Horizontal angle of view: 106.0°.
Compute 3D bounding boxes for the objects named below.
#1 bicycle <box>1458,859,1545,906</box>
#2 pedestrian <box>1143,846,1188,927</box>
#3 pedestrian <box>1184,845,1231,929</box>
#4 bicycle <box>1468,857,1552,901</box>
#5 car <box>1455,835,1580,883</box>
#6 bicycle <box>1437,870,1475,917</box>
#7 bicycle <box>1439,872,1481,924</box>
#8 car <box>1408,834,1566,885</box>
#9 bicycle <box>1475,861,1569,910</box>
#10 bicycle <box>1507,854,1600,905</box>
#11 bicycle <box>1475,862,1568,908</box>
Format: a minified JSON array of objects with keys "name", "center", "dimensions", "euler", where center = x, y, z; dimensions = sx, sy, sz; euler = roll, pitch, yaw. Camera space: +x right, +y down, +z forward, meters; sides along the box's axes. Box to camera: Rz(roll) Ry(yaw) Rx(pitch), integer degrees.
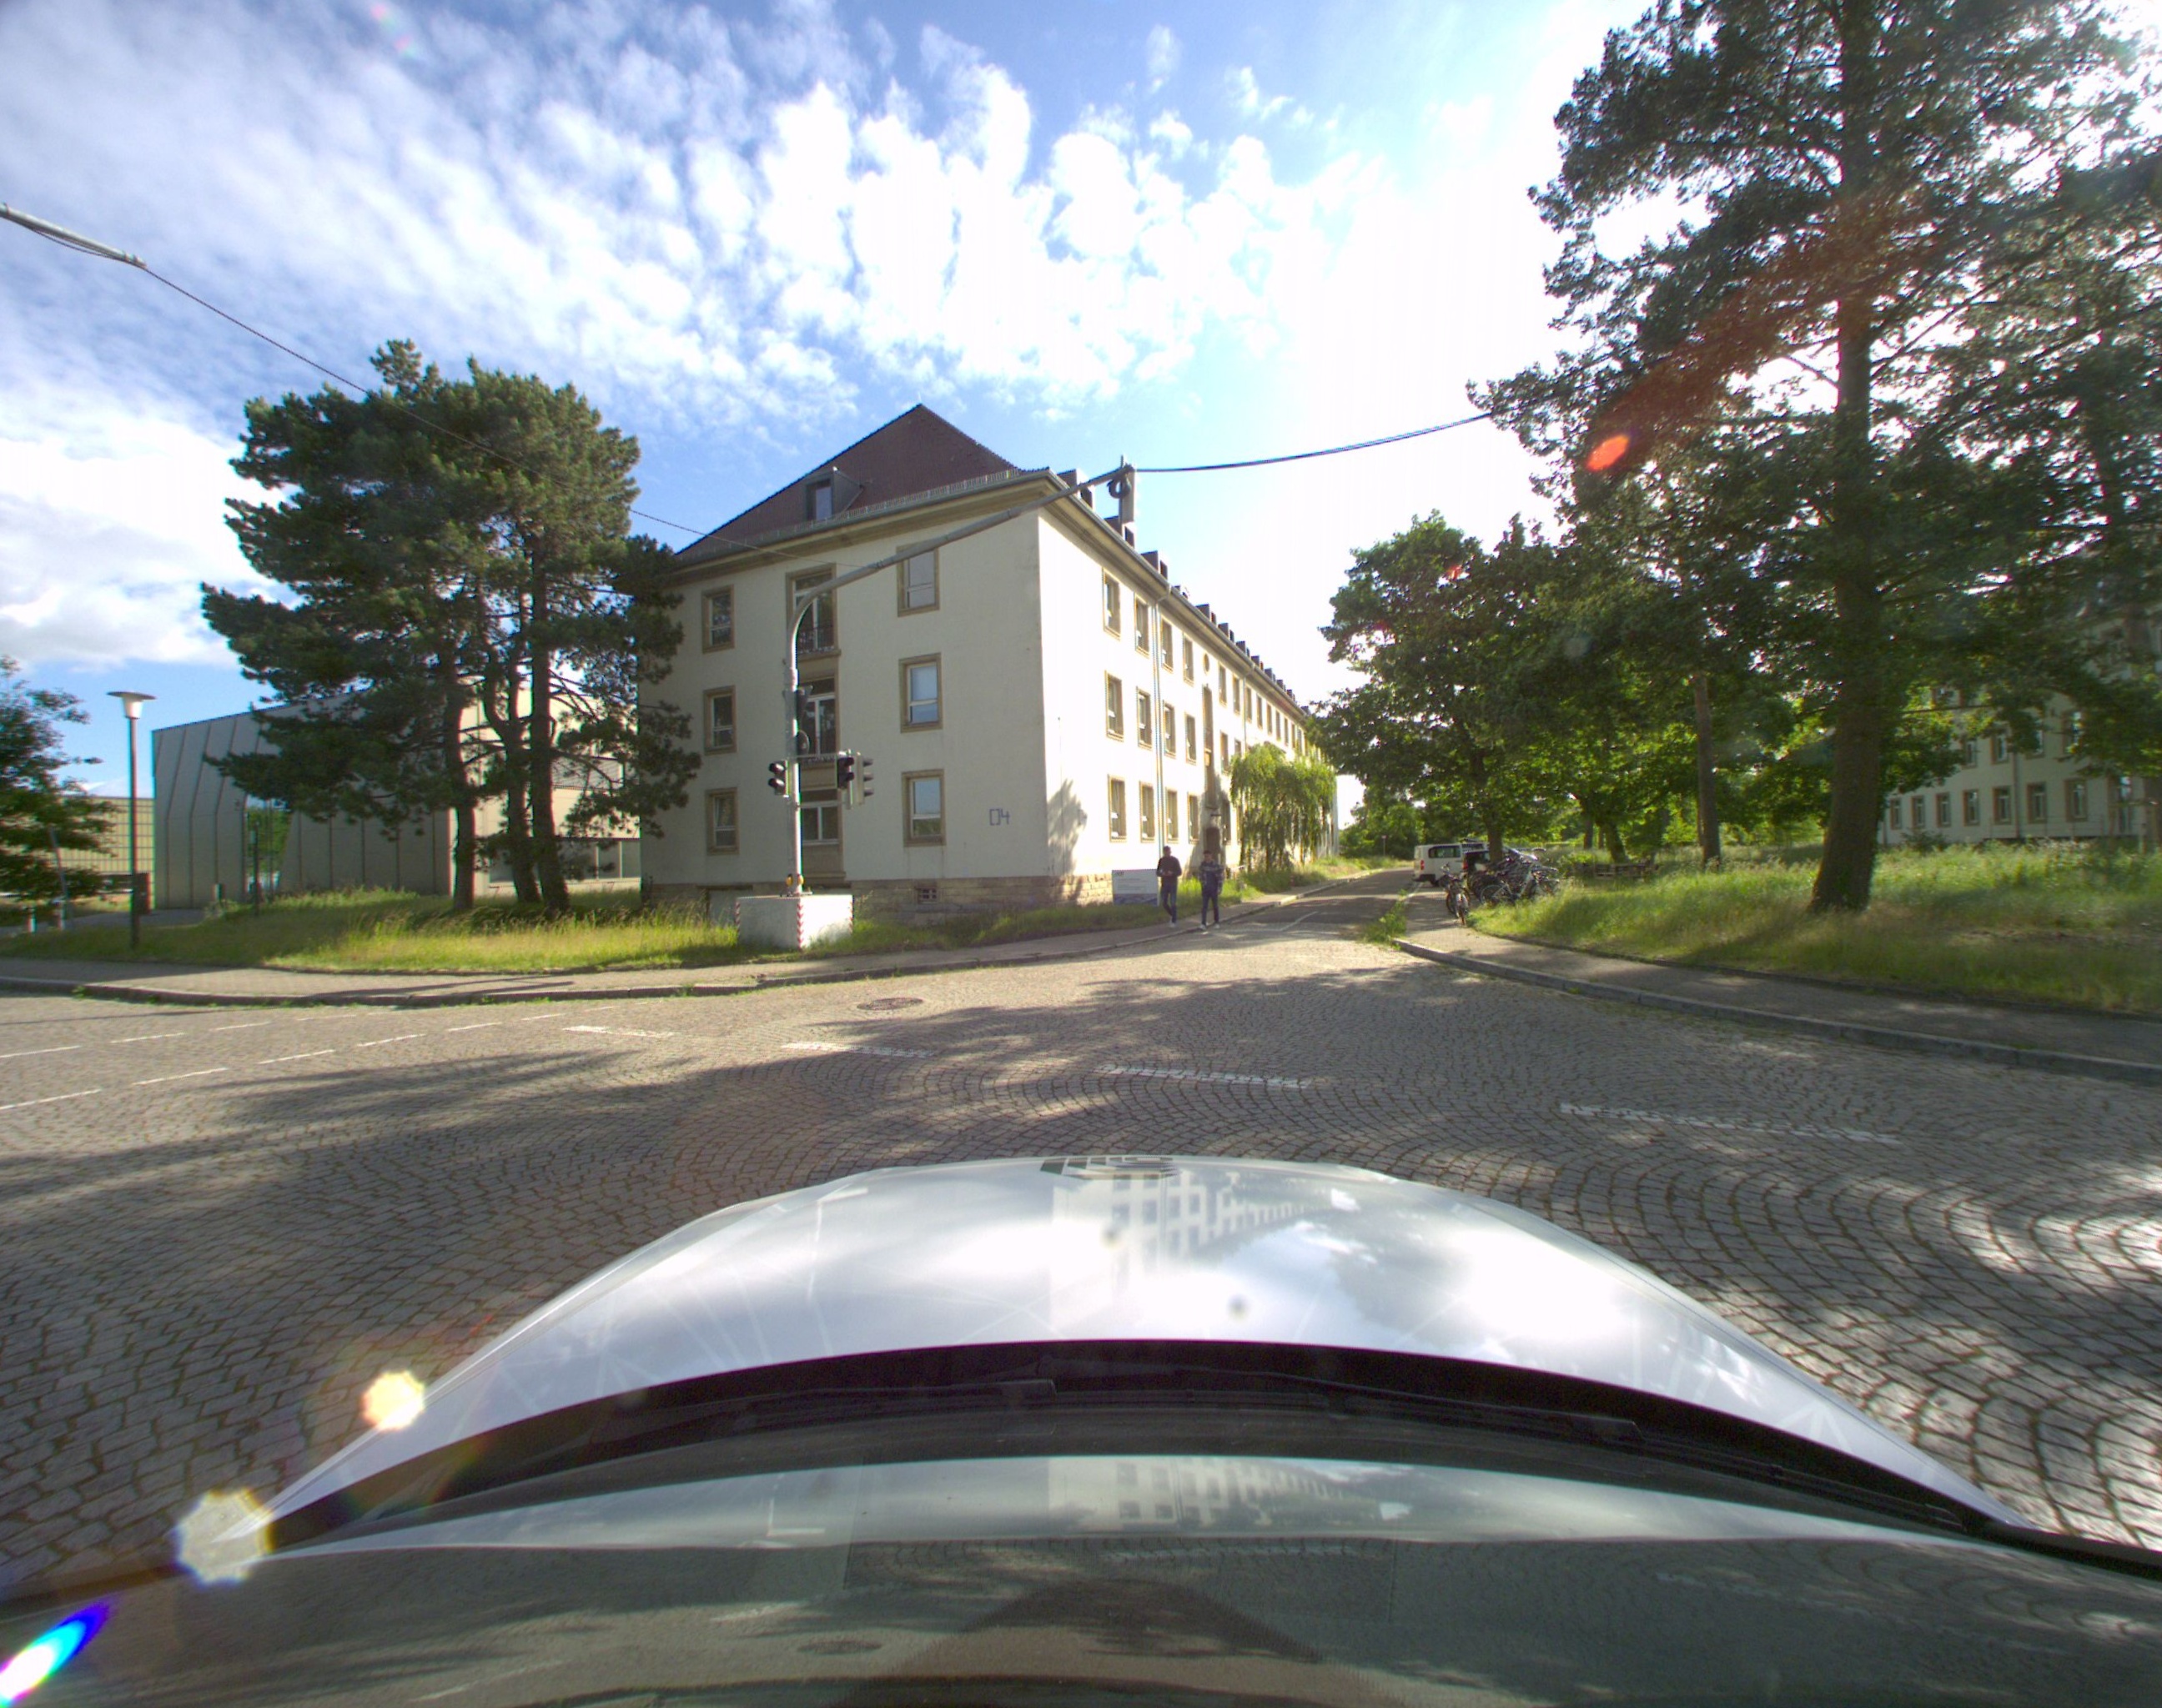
[{"name":"bicycle","center":[10.981,0.736,21.286],"dimensions":[1.936,1.129,0.647],"euler":[-2,-1,-3]},{"name":"pedestrian","center":[1.934,0.739,18.692],"dimensions":[0.804,1.817,0.558],"euler":[-2,-1,35]},{"name":"pedestrian","center":[2.834,0.718,18.197],"dimensions":[0.760,1.817,0.687],"euler":[-2,-1,35]},{"name":"bicycle","center":[11.659,0.679,22.205],"dimensions":[1.925,1.129,0.651],"euler":[-2,-1,19]},{"name":"car","center":[16.824,0.203,31.614],"dimensions":[3.956,1.684,1.855],"euler":[-2,-1,16]},{"name":"bicycle","center":[8.496,0.879,18.506],"dimensions":[0.689,0.971,1.871],"euler":[-1,0,22]},{"name":"bicycle","center":[7.748,0.874,16.701],"dimensions":[0.689,0.971,1.871],"euler":[-1,0,22]},{"name":"car","center":[17.747,0.263,35.978],"dimensions":[5.884,2.014,2.487],"euler":[-2,-1,17]},{"name":"bicycle","center":[10.813,0.779,20.038],"dimensions":[1.924,1.129,0.754],"euler":[-2,-1,21]},{"name":"bicycle","center":[11.778,0.641,20.367],"dimensions":[1.924,1.235,0.488],"euler":[-2,-1,21]},{"name":"bicycle","center":[10.418,0.743,19.332],"dimensions":[1.838,1.031,0.754],"euler":[-2,-1,21]}]
